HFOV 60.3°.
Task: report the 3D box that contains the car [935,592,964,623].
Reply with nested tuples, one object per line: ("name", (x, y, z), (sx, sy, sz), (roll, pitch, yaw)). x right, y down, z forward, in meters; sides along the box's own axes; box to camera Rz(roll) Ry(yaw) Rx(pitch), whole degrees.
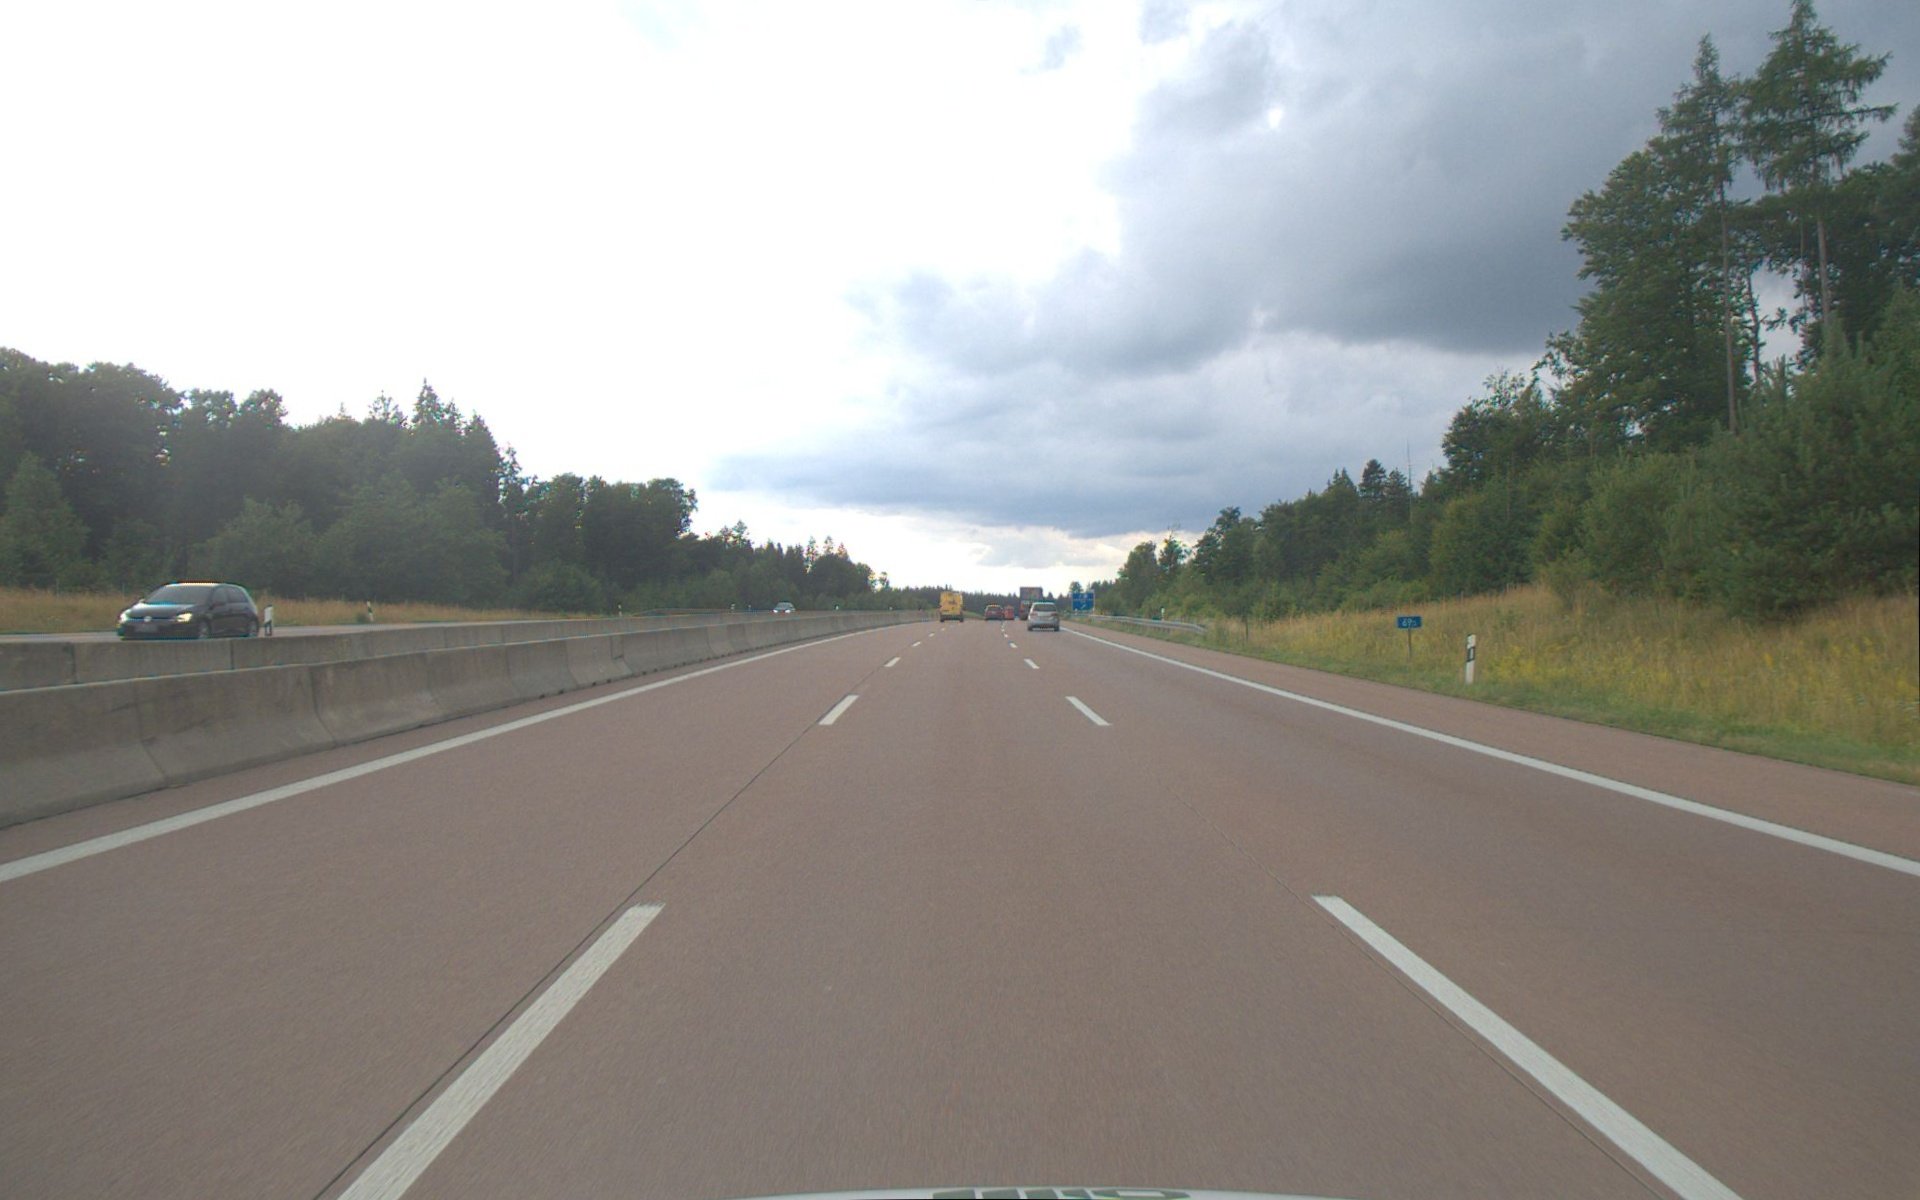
("car", (-0.928, 0.700, 150.526), (2.407, 2.754, 5.615), (0, 0, 3))

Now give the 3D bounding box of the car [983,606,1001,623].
("car", (3.463, 1.605, 177.957), (1.848, 1.795, 4.783), (0, 0, 2))

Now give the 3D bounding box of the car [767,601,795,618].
("car", (-18.055, 0.963, 166.671), (2.171, 1.594, 4.850), (0, 0, 2))

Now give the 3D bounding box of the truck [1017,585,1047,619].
("truck", (9.096, 0.304, 206.888), (3.603, 3.981, 12.820), (1, -1, 3))

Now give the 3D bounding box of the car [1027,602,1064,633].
("car", (4.808, 0.955, 93.148), (1.937, 1.677, 4.620), (1, 0, 2))

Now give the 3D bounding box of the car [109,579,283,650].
("car", (-17.630, 0.360, 38.405), (1.890, 1.514, 4.424), (1, -1, 1))
